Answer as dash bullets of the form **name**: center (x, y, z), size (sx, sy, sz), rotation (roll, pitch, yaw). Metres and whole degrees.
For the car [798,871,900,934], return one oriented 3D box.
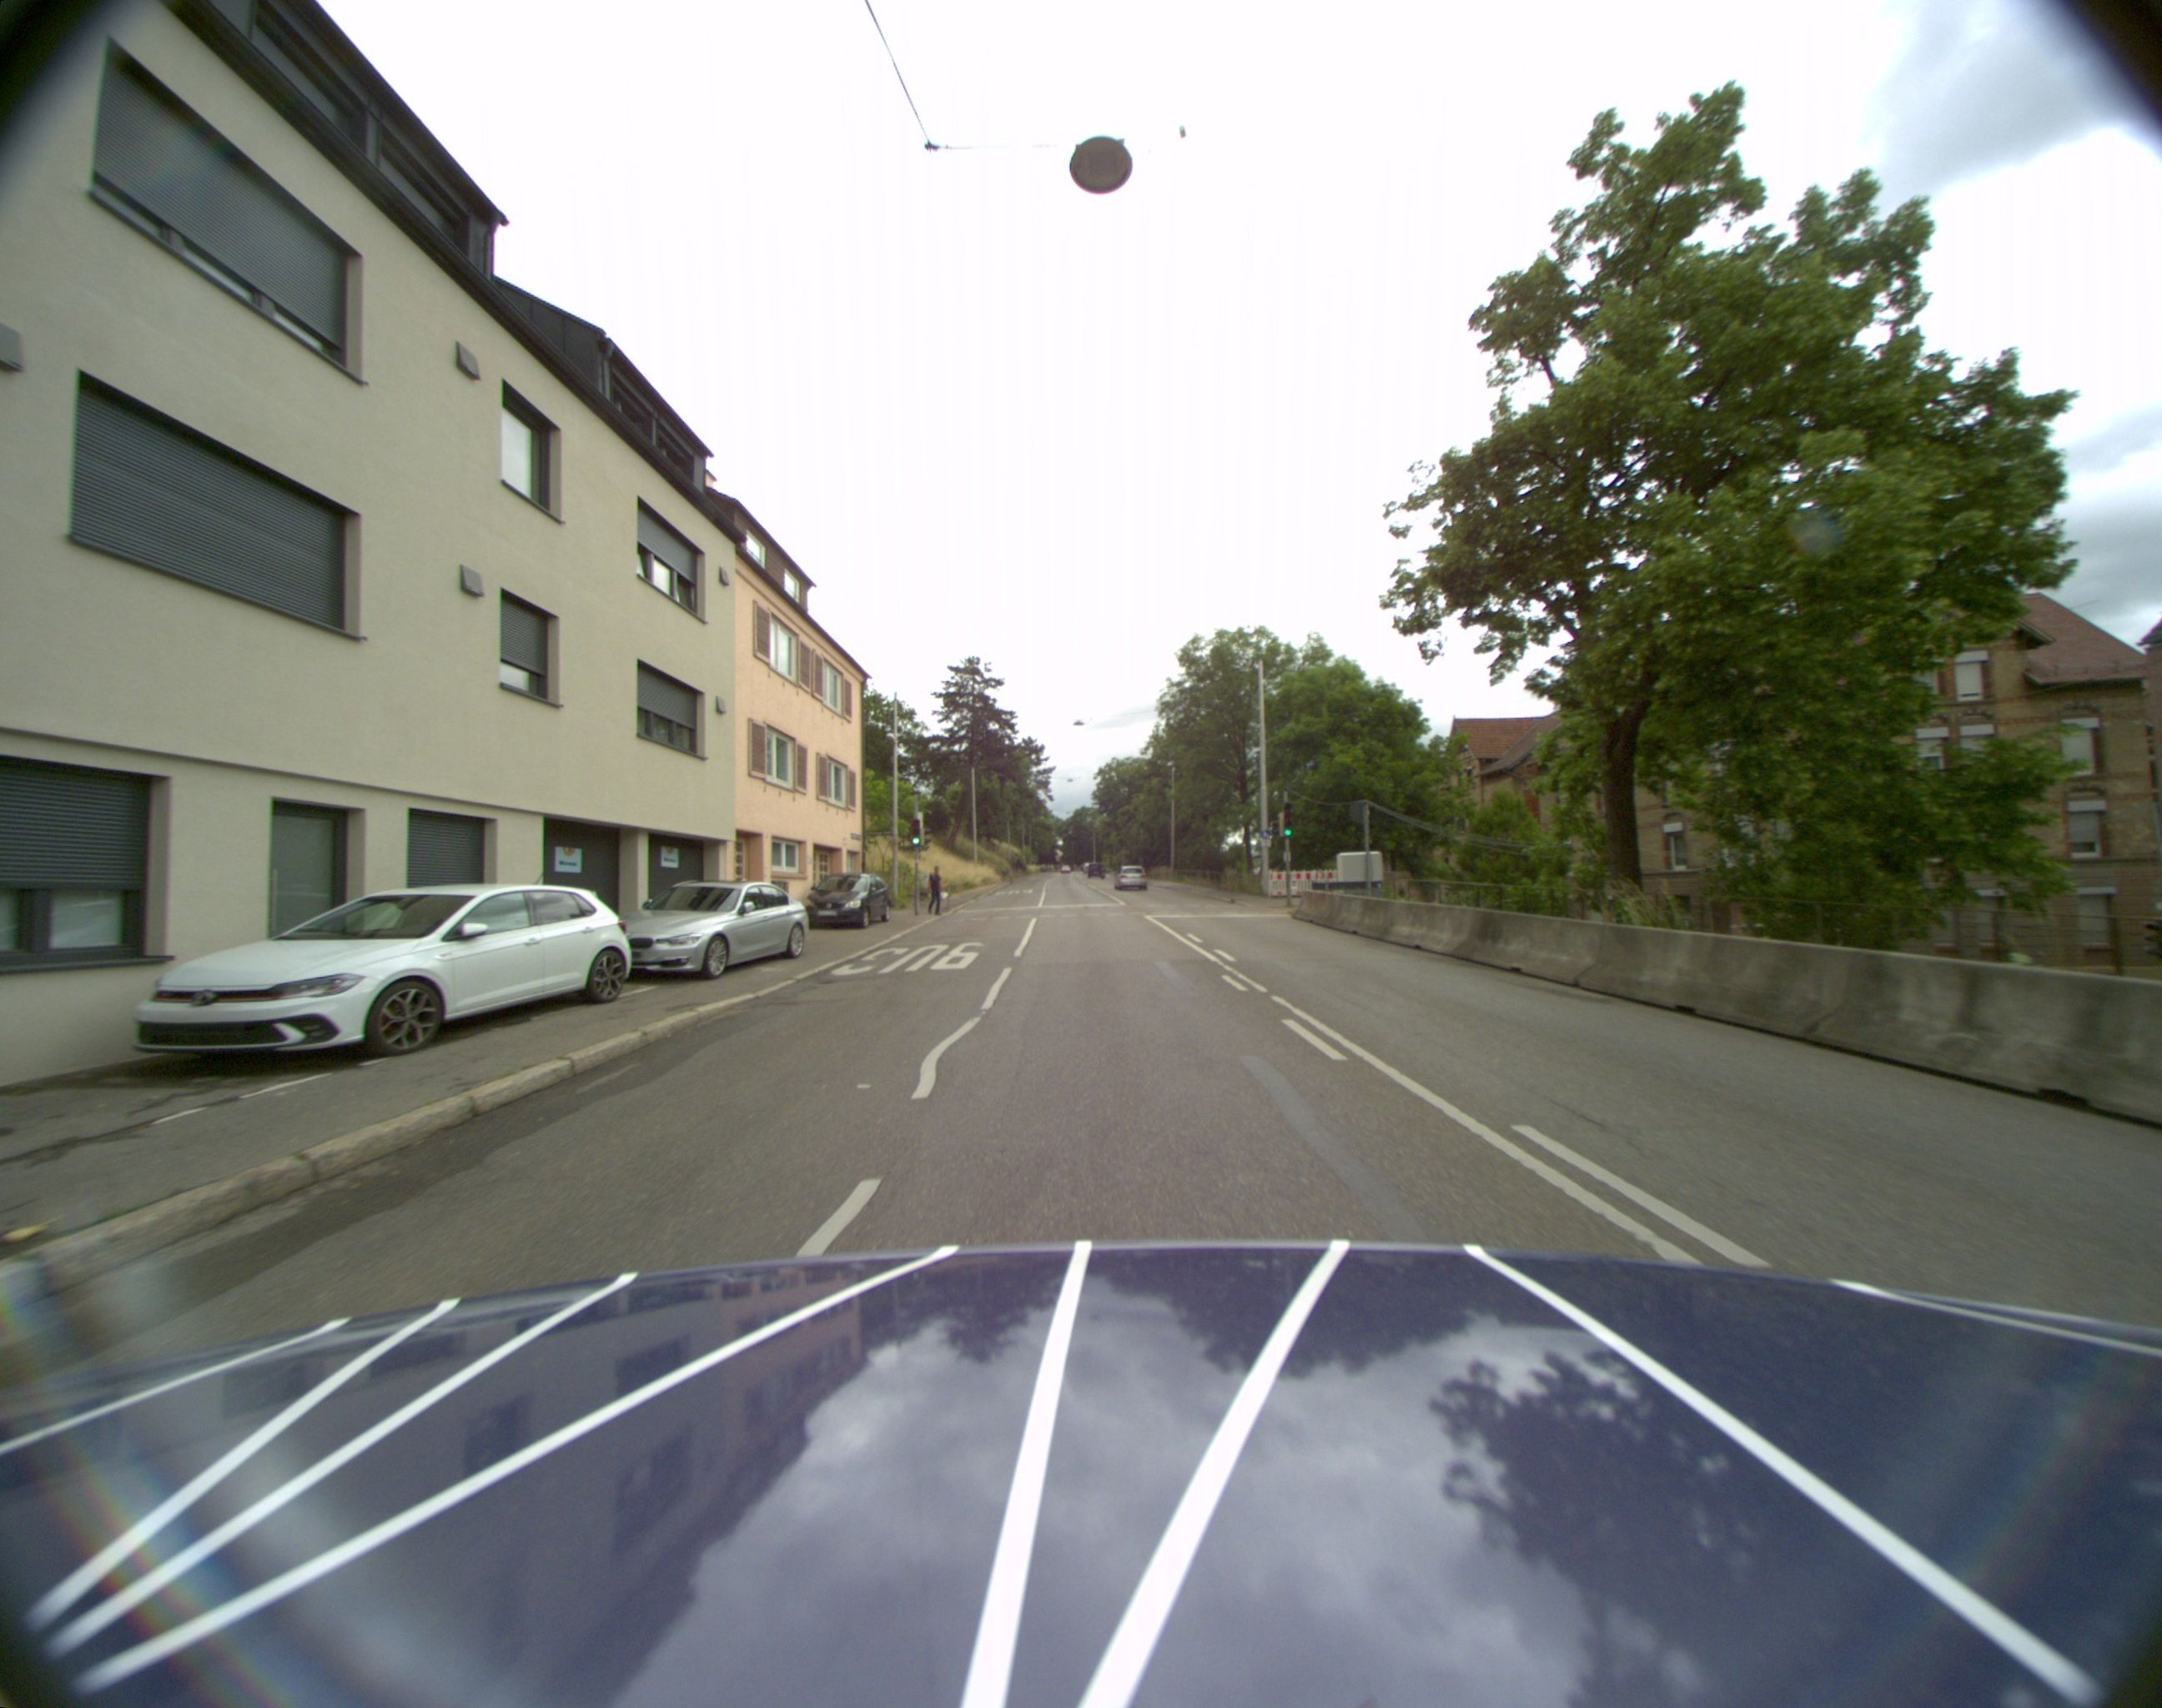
- **car**: center (-6.427, 1.295, 21.489), size (1.686, 1.442, 3.999), rotation (2, 0, -1)

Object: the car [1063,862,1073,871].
- **car**: center (-2.303, 2.168, 133.752), size (1.788, 1.565, 4.280), rotation (0, 0, -2)

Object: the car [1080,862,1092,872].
- **car**: center (0.842, 2.169, 125.935), size (1.788, 1.565, 4.280), rotation (0, 0, -2)

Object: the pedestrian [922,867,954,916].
- **pedestrian**: center (-5.062, 1.306, 26.903), size (0.874, 1.686, 0.888), rotation (-1, 0, -28)

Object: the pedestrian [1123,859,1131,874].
- **pedestrian**: center (5.597, 1.578, 92.753), size (0.791, 1.763, 1.209), rotation (-4, 0, -3)

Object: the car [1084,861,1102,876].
- **car**: center (1.413, 1.663, 87.496), size (1.789, 1.735, 4.428), rotation (0, 0, -3)

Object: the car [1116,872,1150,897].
- **car**: center (3.167, 1.858, 47.223), size (1.725, 1.436, 4.158), rotation (-1, 0, -1)

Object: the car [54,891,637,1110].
- **car**: center (-6.554, 1.166, 7.549), size (1.798, 1.415, 4.006), rotation (0, 0, 3)

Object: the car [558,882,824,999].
- **car**: center (-6.076, 1.248, 12.640), size (1.798, 1.442, 4.720), rotation (2, -1, 2)

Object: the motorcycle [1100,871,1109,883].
- **motorcycle**: center (2.505, 2.424, 80.289), size (0.787, 1.138, 2.057), rotation (0, 0, -2)

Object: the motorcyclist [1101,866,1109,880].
- **motorcyclist**: center (2.500, 2.001, 80.268), size (0.787, 1.507, 0.668), rotation (0, 0, -2)
